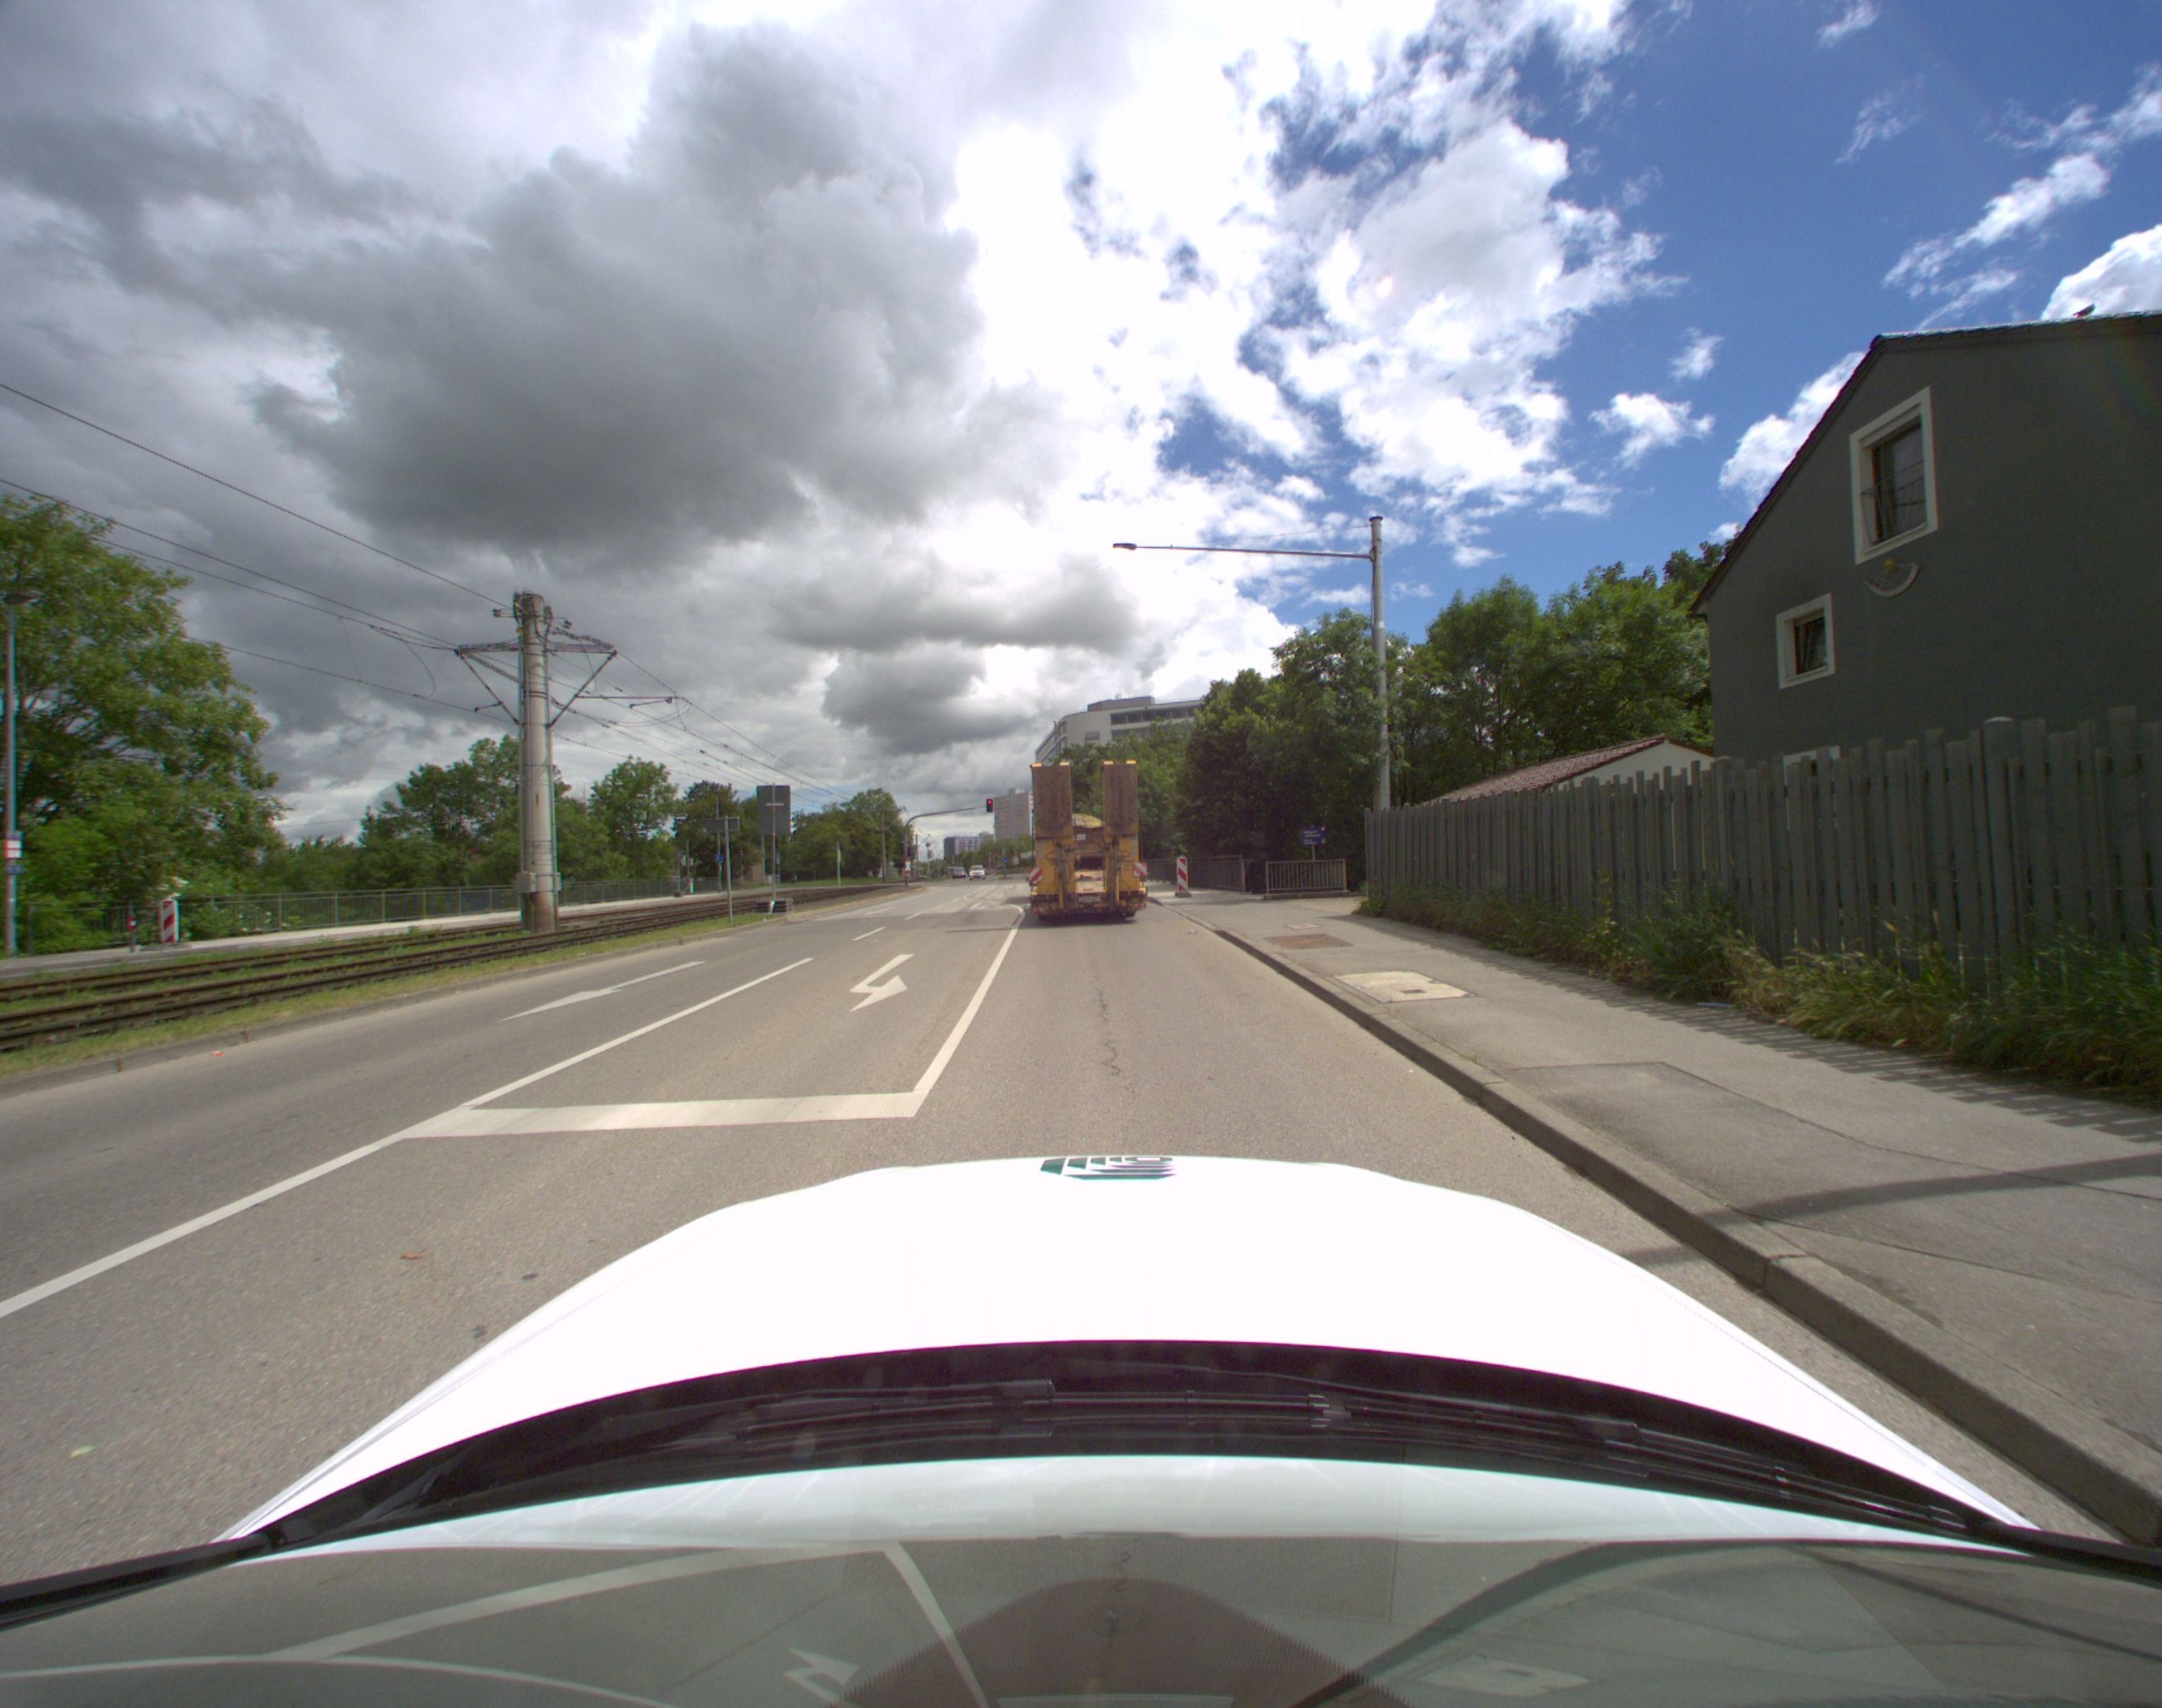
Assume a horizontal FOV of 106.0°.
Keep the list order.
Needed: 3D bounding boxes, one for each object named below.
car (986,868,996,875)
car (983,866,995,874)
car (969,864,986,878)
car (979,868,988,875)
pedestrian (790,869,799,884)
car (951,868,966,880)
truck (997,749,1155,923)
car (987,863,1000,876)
[{"bbox_3d":[-17.664,3.385,159.605,1.991,1.420,3.991,0,-1,-6],"label":"car"},{"bbox_3d":[-16.915,2.864,149.660,1.991,1.420,3.991,0,-1,-6],"label":"car"},{"bbox_3d":[-11.275,1.851,88.925,1.590,1.527,3.649,-2,-1,-4],"label":"car"},{"bbox_3d":[-21.944,3.903,183.870,1.991,1.618,3.992,0,-1,-6],"label":"car"},{"bbox_3d":[-33.556,2.625,95.465,0.799,1.811,0.808,0,-1,-2],"label":"pedestrian"},{"bbox_3d":[-16.779,2.736,111.894,1.782,1.570,4.334,-2,-1,-7],"label":"car"},{"bbox_3d":[-0.163,-0.284,23.581,3.306,3.651,12.556,-1,-1,-1],"label":"truck"},{"bbox_3d":[-13.613,2.376,126.836,1.991,1.926,3.991,0,-1,-6],"label":"car"}]
